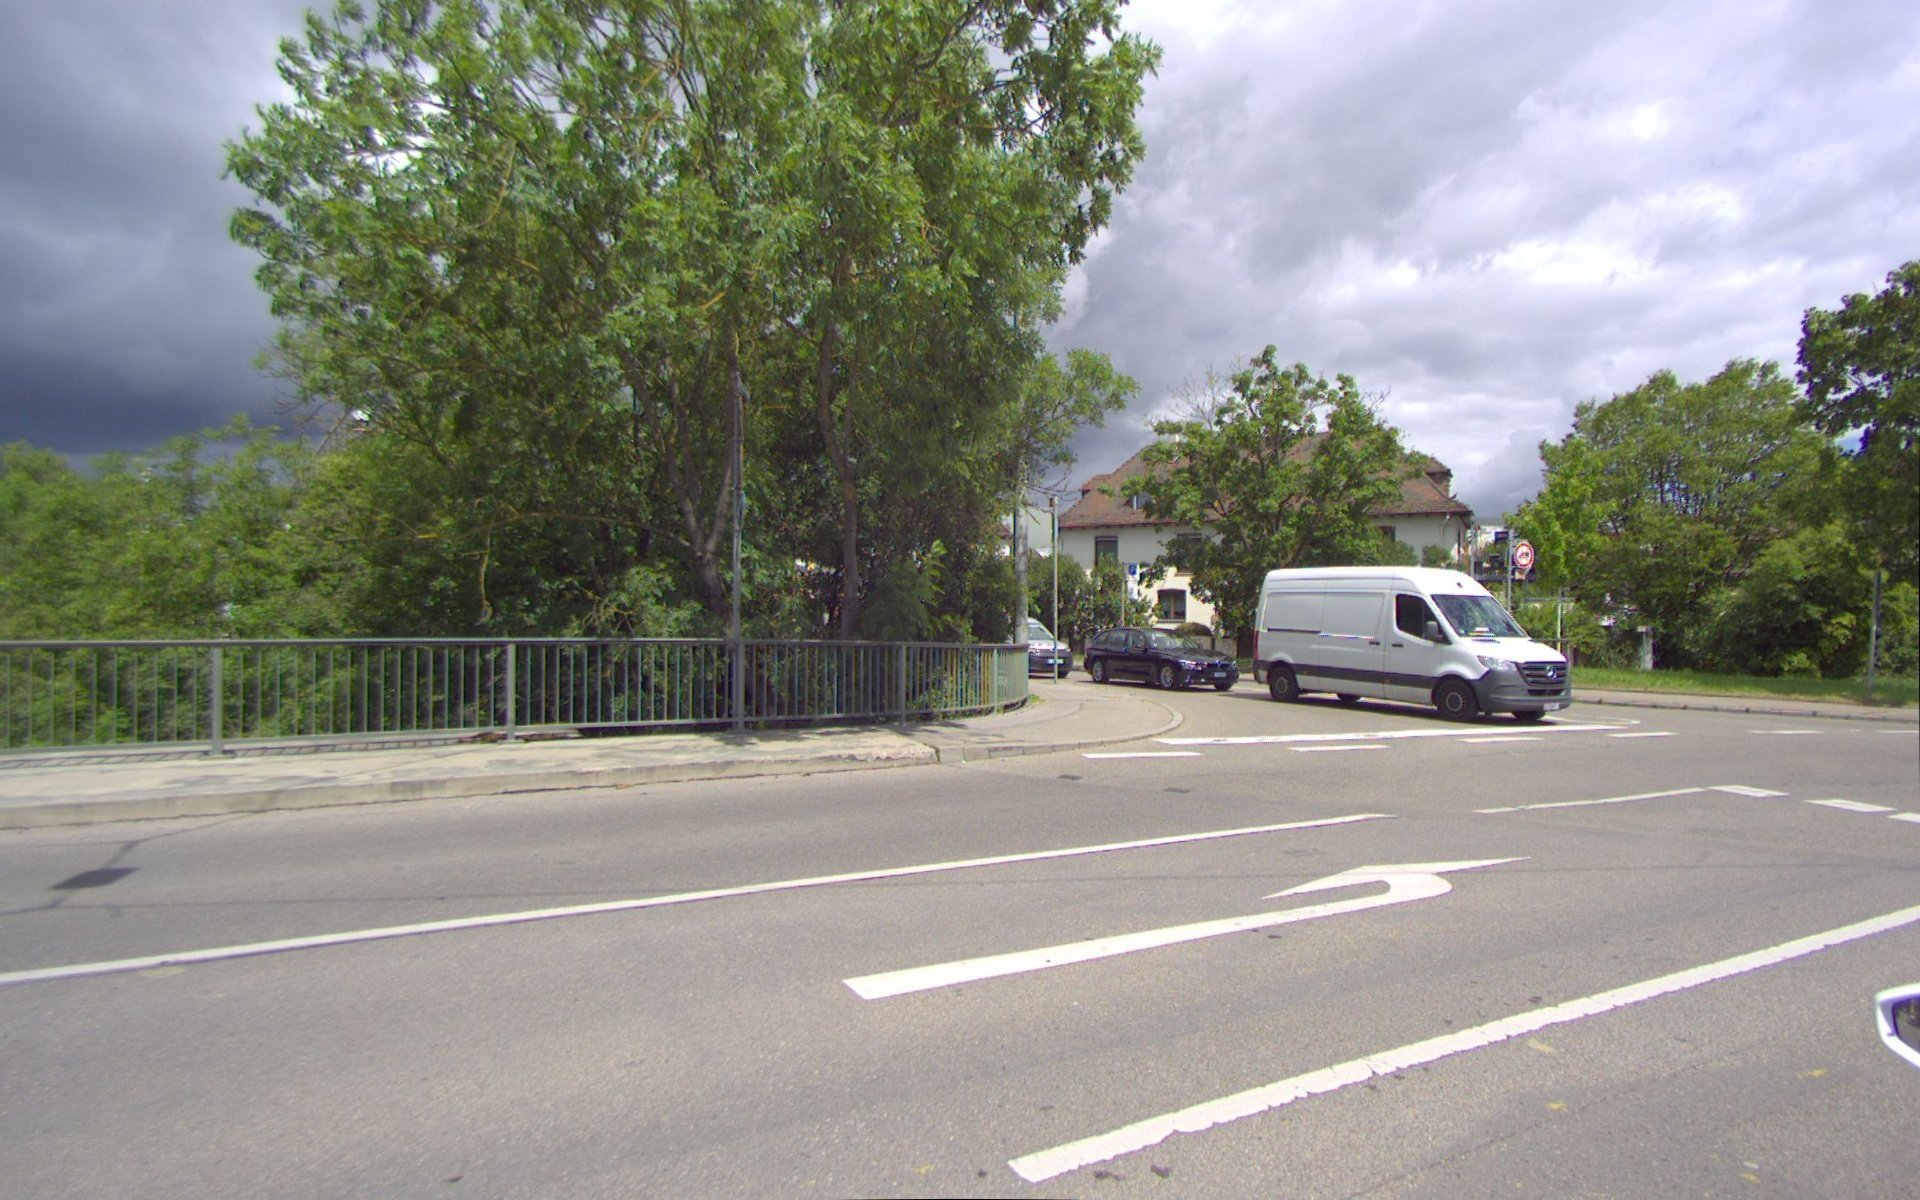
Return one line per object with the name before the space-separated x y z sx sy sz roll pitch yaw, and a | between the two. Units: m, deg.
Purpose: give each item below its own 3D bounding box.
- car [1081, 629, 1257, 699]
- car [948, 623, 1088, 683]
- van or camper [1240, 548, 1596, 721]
car | 4.889 1.462 24.096 1.974 1.493 4.201 1 -1 -27
car | 1.599 1.466 29.311 1.978 1.609 4.364 1 -2 -32
van or camper | 7.967 0.622 18.296 2.165 2.600 5.890 2 -2 -26
